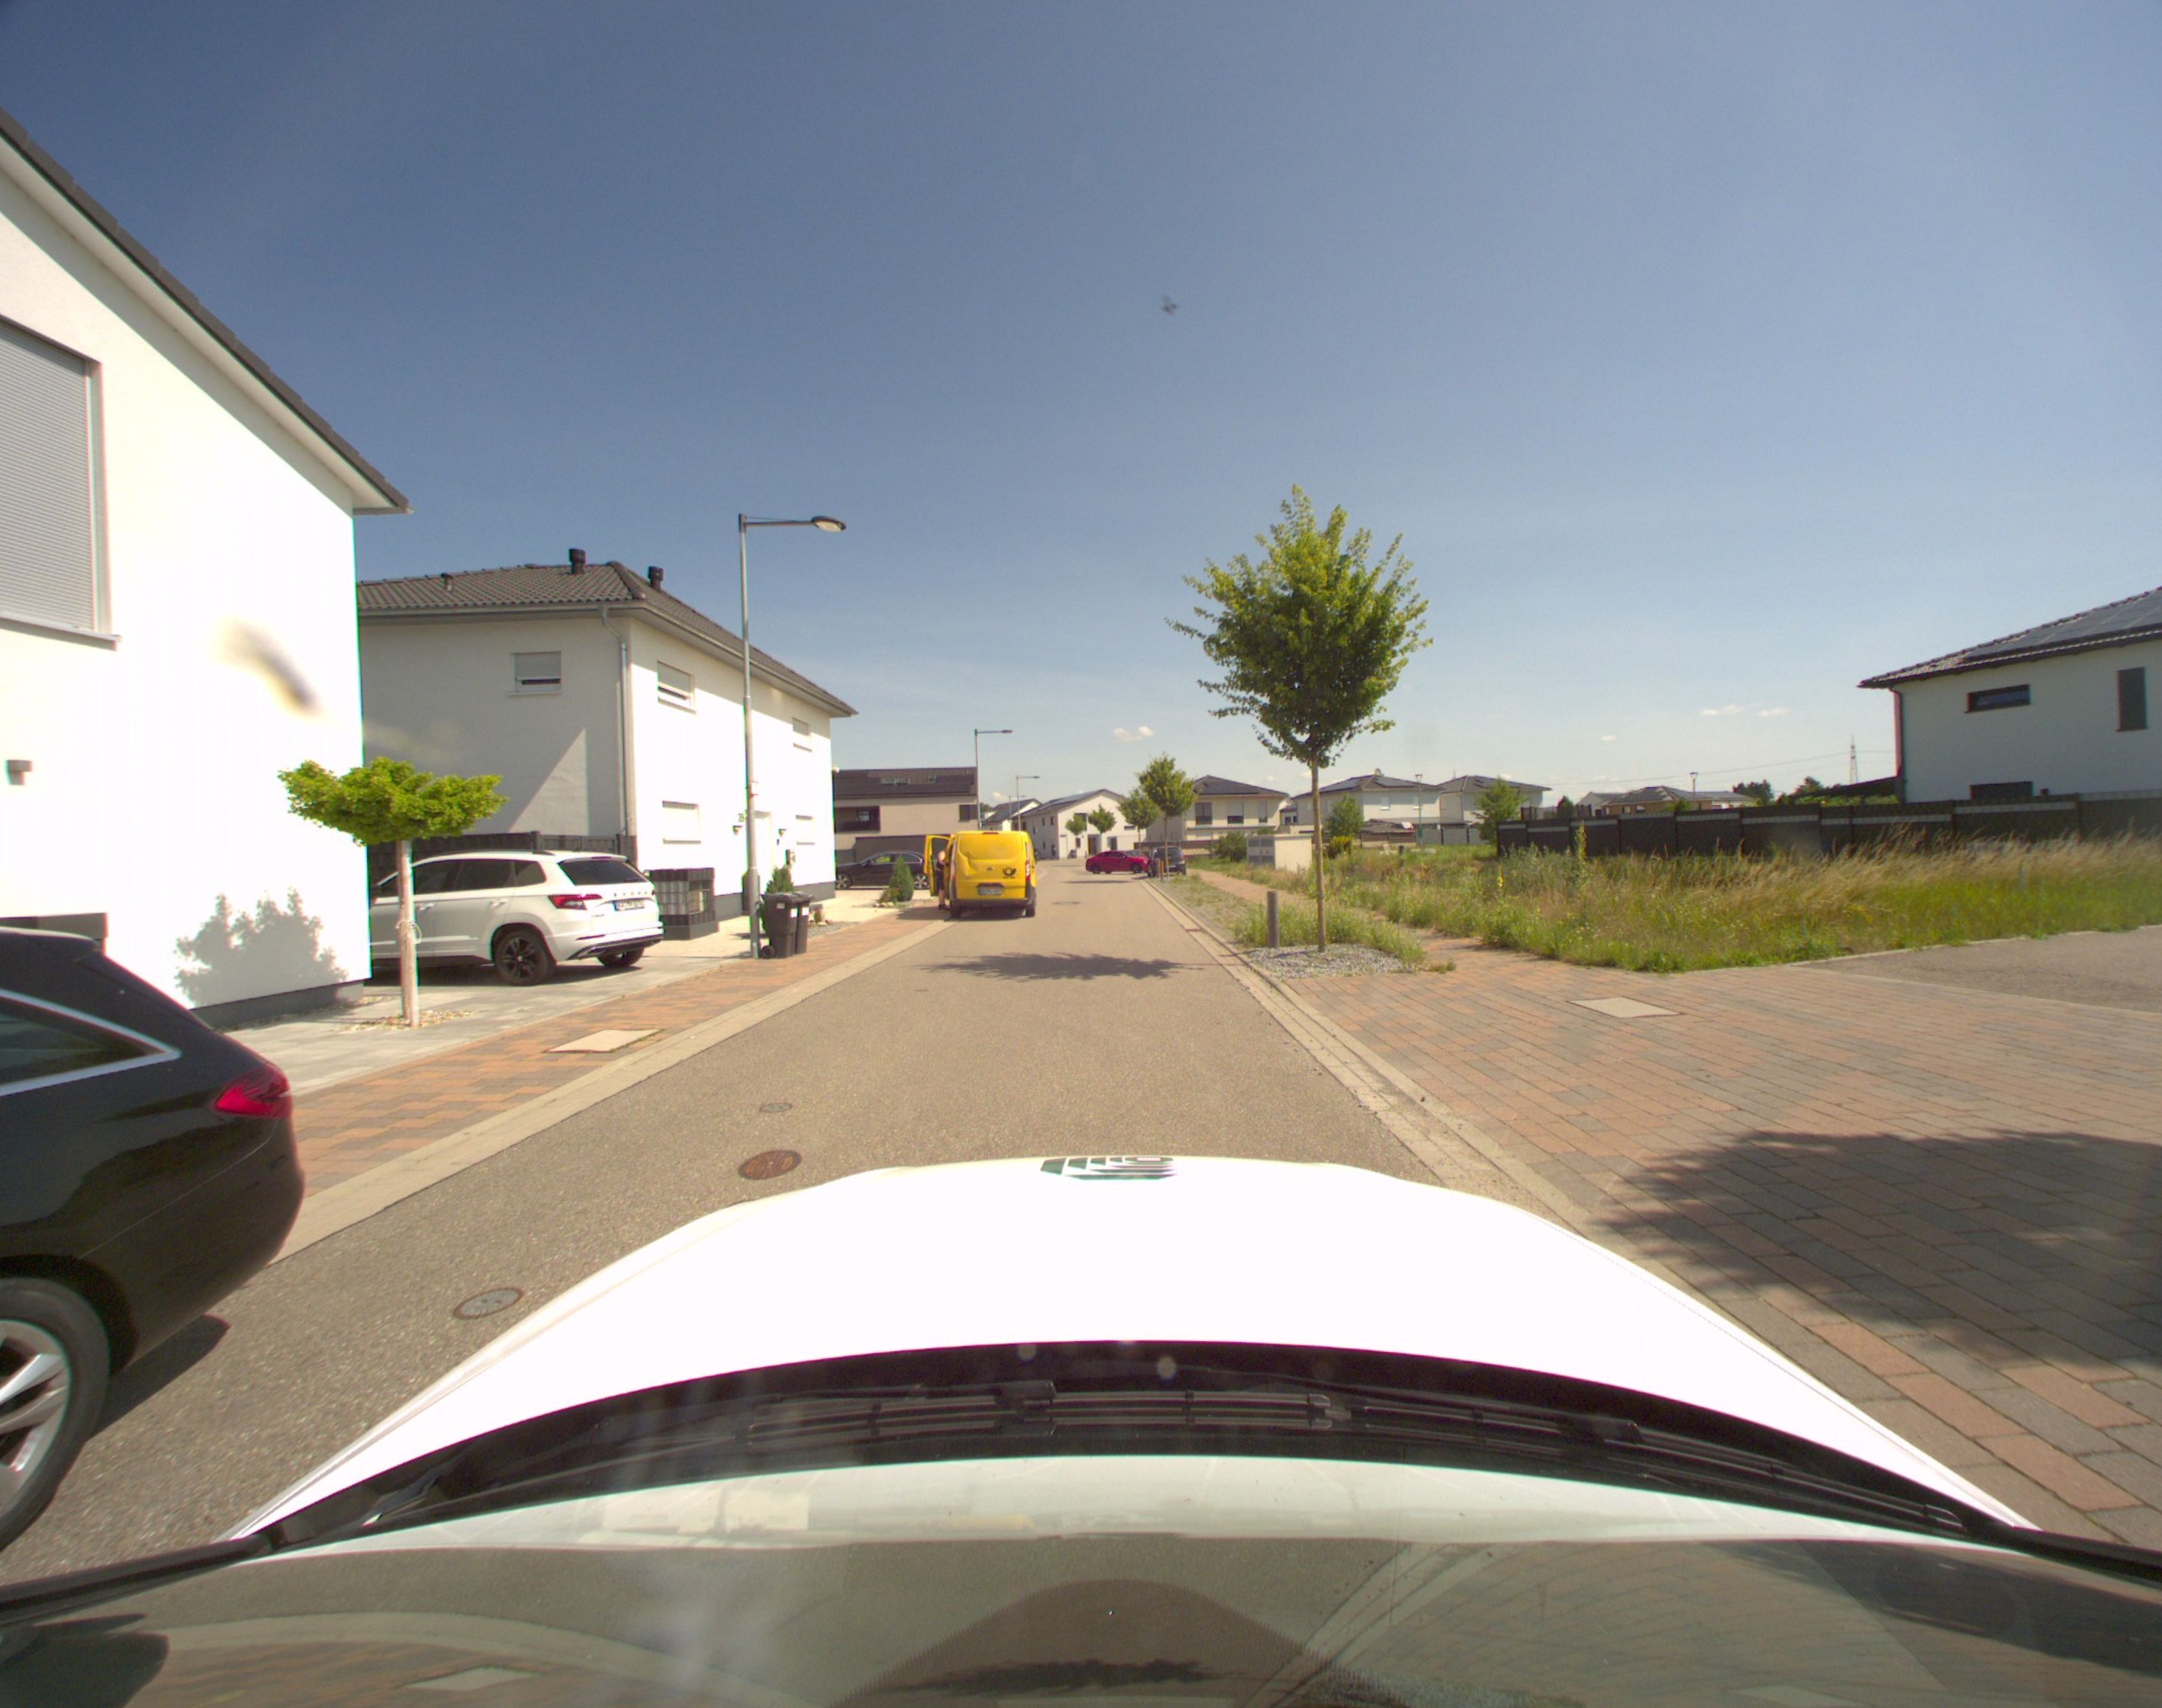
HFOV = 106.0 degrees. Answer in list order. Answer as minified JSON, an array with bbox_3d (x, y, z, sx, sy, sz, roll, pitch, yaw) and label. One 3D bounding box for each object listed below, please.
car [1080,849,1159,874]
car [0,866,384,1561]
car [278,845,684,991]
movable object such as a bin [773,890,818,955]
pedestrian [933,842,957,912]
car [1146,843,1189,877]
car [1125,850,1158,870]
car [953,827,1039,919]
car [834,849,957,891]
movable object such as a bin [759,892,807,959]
[{"bbox_3d":[2.326,0.461,49.548,4.462,1.438,1.779,-1,0,29],"label":"car"},{"bbox_3d":[-3.218,0.794,0.470,1.684,1.472,4.447,1,0,2],"label":"car"},{"bbox_3d":[-7.517,0.760,10.436,3.935,1.619,1.797,-2,0,6],"label":"car"},{"bbox_3d":[-4.376,1.041,12.513,0.484,0.925,0.530,-2,0,-2],"label":"movable object such as a bin"},{"bbox_3d":[-3.403,0.560,20.431,0.530,1.738,0.569,0,0,-5],"label":"pedestrian"},{"bbox_3d":[4.197,0.275,39.988,1.593,1.475,3.674,-4,0,0],"label":"car"},{"bbox_3d":[4.318,0.409,59.020,1.751,1.363,4.569,-1,0,-4],"label":"car"},{"bbox_3d":[-1.989,0.411,20.352,1.879,2.013,4.836,0,0,-3],"label":"car"},{"bbox_3d":[-6.967,0.583,30.826,4.396,1.452,1.742,-1,0,-13],"label":"car"},{"bbox_3d":[-4.377,1.037,11.965,0.484,0.925,0.530,-2,0,-2],"label":"movable object such as a bin"}]
